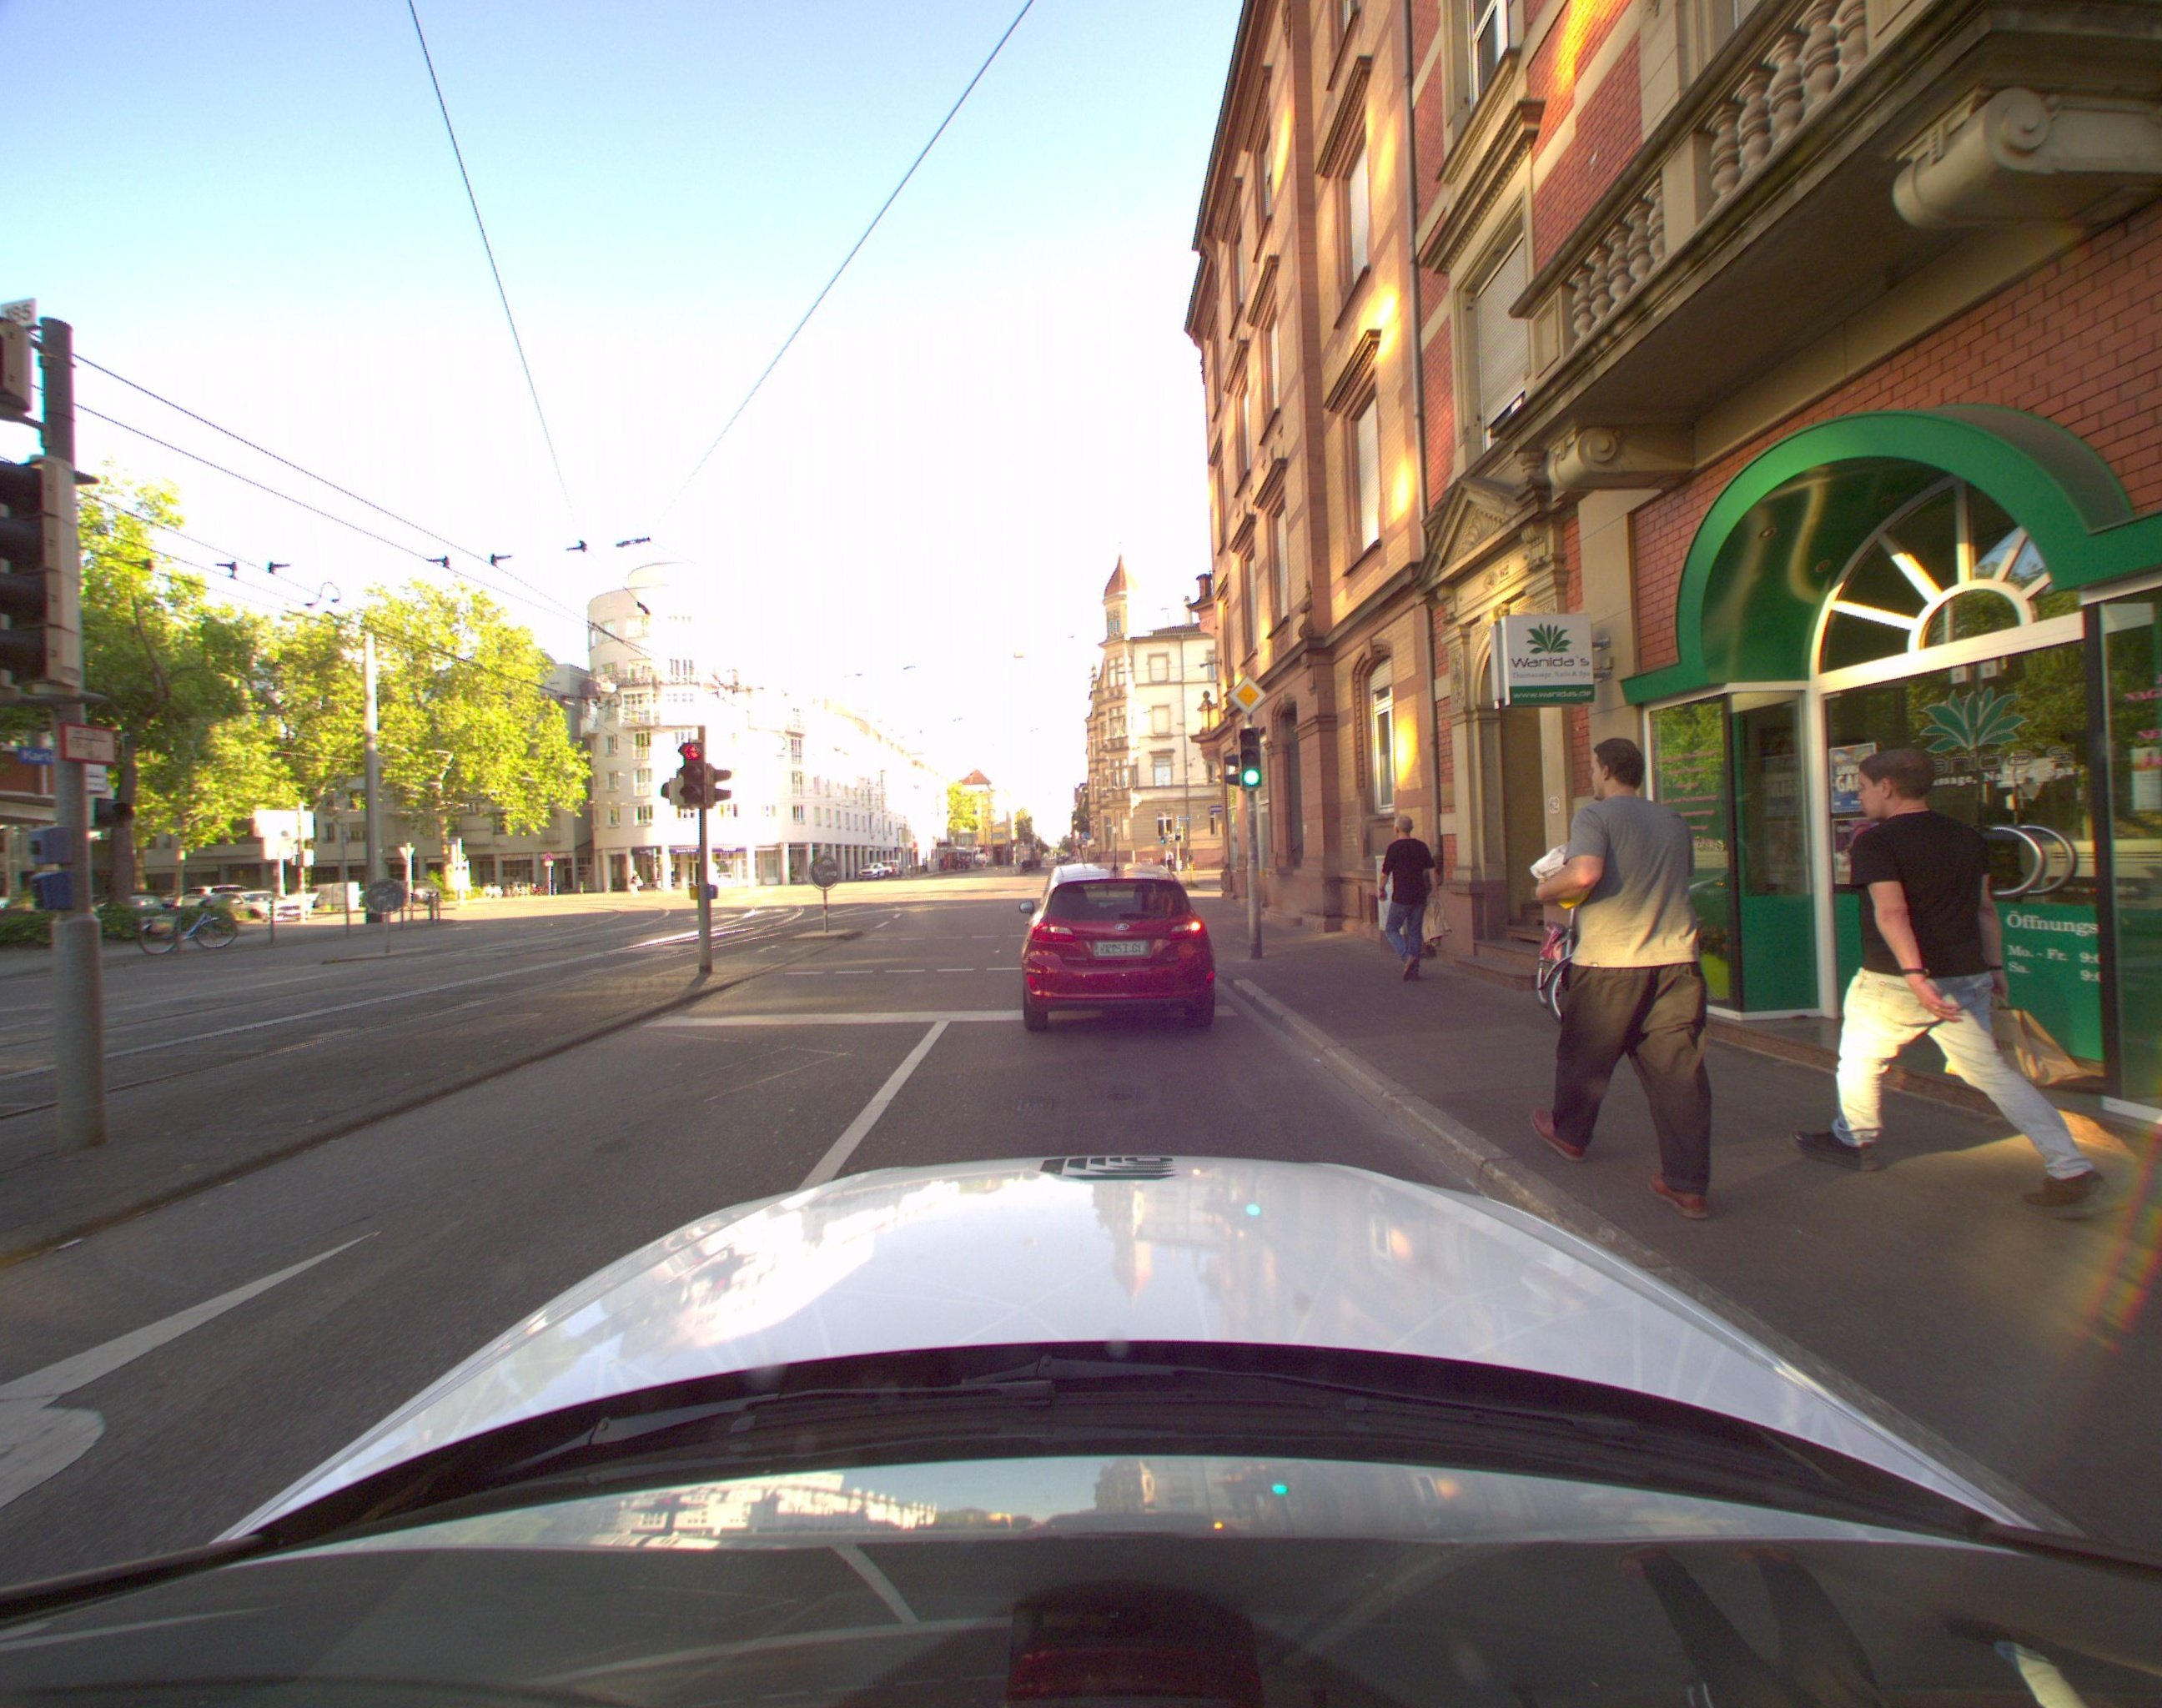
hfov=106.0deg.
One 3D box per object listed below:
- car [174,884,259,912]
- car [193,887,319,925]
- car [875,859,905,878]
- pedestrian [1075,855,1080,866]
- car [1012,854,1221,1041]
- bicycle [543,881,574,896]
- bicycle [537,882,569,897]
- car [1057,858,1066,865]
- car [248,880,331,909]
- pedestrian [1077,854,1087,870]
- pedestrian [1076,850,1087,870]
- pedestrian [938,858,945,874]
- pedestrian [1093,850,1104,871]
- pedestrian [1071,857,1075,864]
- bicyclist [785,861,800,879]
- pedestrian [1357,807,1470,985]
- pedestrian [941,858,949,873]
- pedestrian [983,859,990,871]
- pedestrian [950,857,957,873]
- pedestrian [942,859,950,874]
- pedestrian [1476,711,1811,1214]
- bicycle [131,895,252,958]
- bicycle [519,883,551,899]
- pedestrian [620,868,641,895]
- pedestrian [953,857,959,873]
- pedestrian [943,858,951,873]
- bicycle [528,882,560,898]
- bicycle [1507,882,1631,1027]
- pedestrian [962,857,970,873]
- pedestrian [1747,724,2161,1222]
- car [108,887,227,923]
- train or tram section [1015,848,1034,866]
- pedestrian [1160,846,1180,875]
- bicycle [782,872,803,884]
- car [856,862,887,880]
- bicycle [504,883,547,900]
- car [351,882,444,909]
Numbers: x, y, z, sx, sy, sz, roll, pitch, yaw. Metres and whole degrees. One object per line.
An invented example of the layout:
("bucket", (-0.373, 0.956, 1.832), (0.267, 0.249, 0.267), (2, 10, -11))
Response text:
("car", (-60.664, 3.048, 57.234), (1.790, 1.715, 3.996), (-2, 0, -3))
("car", (-36.328, 2.292, 35.873), (4.408, 1.421, 1.898), (-3, -1, 15))
("car", (-20.502, 1.518, 87.522), (1.988, 1.837, 5.342), (-2, 0, -2))
("pedestrian", (-0.636, 1.067, 137.465), (0.712, 1.774, 0.772), (-5, 1, -5))
("car", (0.261, 0.757, 8.381), (1.687, 1.495, 3.578), (0, 0, -1))
("bicycle", (-42.107, 2.809, 65.659), (1.935, 1.107, 0.819), (-2, 0, 1))
("bicycle", (-42.021, 2.810, 64.793), (1.935, 1.107, 0.819), (-2, 0, 1))
("car", (-4.416, 1.603, 183.817), (1.988, 1.449, 3.998), (-2, 0, -1))
("car", (-53.436, 2.693, 55.093), (1.790, 1.715, 3.996), (-2, 0, -3))
("pedestrian", (0.102, 0.690, 71.508), (0.716, 1.331, 0.795), (-4, -1, -3))
("pedestrian", (0.037, 0.572, 72.448), (0.711, 1.721, 0.800), (-4, -2, 19))
("pedestrian", (-15.462, 1.321, 90.100), (0.597, 1.691, 0.613), (-2, -1, -1))
("pedestrian", (1.540, 0.597, 72.489), (0.799, 1.824, 0.797), (-4, 0, -2))
("pedestrian", (-1.683, 1.407, 174.512), (0.748, 1.661, 0.650), (-1, -1, 1))
("bicyclist", (-24.598, 1.354, 69.408), (0.837, 1.467, 0.897), (-2, 0, 4))
("pedestrian", (3.442, 0.416, 8.498), (0.773, 1.723, 0.754), (-3, 0, -1))
("pedestrian", (-15.400, 1.309, 92.135), (0.756, 1.733, 0.523), (-3, -1, 40))
("pedestrian", (-14.711, 1.684, 127.201), (0.880, 1.904, 0.929), (-2, -1, -17))
("pedestrian", (-15.663, 1.357, 99.780), (0.694, 1.904, 0.671), (-2, -1, -4))
("pedestrian", (-15.897, 1.464, 95.923), (0.699, 1.691, 0.666), (-2, -1, -25))
("pedestrian", (2.360, 0.414, 3.527), (0.819, 1.894, 0.754), (-3, 0, -1))
("bicycle", (-19.841, 1.581, 18.229), (0.578, 1.235, 1.858), (-1, 0, 4))
("bicycle", (-41.959, 2.817, 62.577), (1.934, 1.107, 0.820), (-2, 0, 3))
("pedestrian", (-29.580, 1.779, 53.504), (0.863, 1.681, 0.698), (-3, 1, 7))
("pedestrian", (-15.420, 1.365, 100.606), (0.694, 1.904, 0.671), (-2, -1, -4))
("pedestrian", (-15.503, 1.380, 94.449), (0.699, 1.691, 0.666), (-2, -1, -25))
("bicycle", (-41.894, 2.812, 63.566), (1.934, 1.107, 0.820), (-2, 0, 3))
("bicycle", (3.876, 0.752, 6.544), (0.342, 0.996, 1.243), (-3, 0, 8))
("pedestrian", (-14.418, 1.374, 102.100), (0.930, 1.904, 0.880), (-2, -1, -4))
("pedestrian", (3.427, 0.419, 3.278), (0.773, 1.723, 0.754), (-3, 0, -1))
("car", (-42.952, 2.382, 38.316), (4.408, 1.421, 1.898), (-3, -1, 15))
("train or tram section", (-11.660, 0.531, 168.389), (2.876, 3.490, 14.165), (-2, 0, 0))
("pedestrian", (5.718, 0.404, 52.563), (1.021, 1.807, 1.081), (-2, 0, -5))
("bicycle", (-24.572, 2.033, 69.391), (0.837, 0.927, 2.267), (-2, 0, 4))
("car", (-20.402, 1.610, 79.477), (1.988, 1.620, 4.507), (-2, 0, -2))
("bicycle", (-41.537, 2.798, 60.941), (2.440, 1.107, 0.933), (-2, 0, -16))
("car", (-44.398, 2.685, 52.961), (4.423, 1.421, 1.892), (-3, 0, 2))
